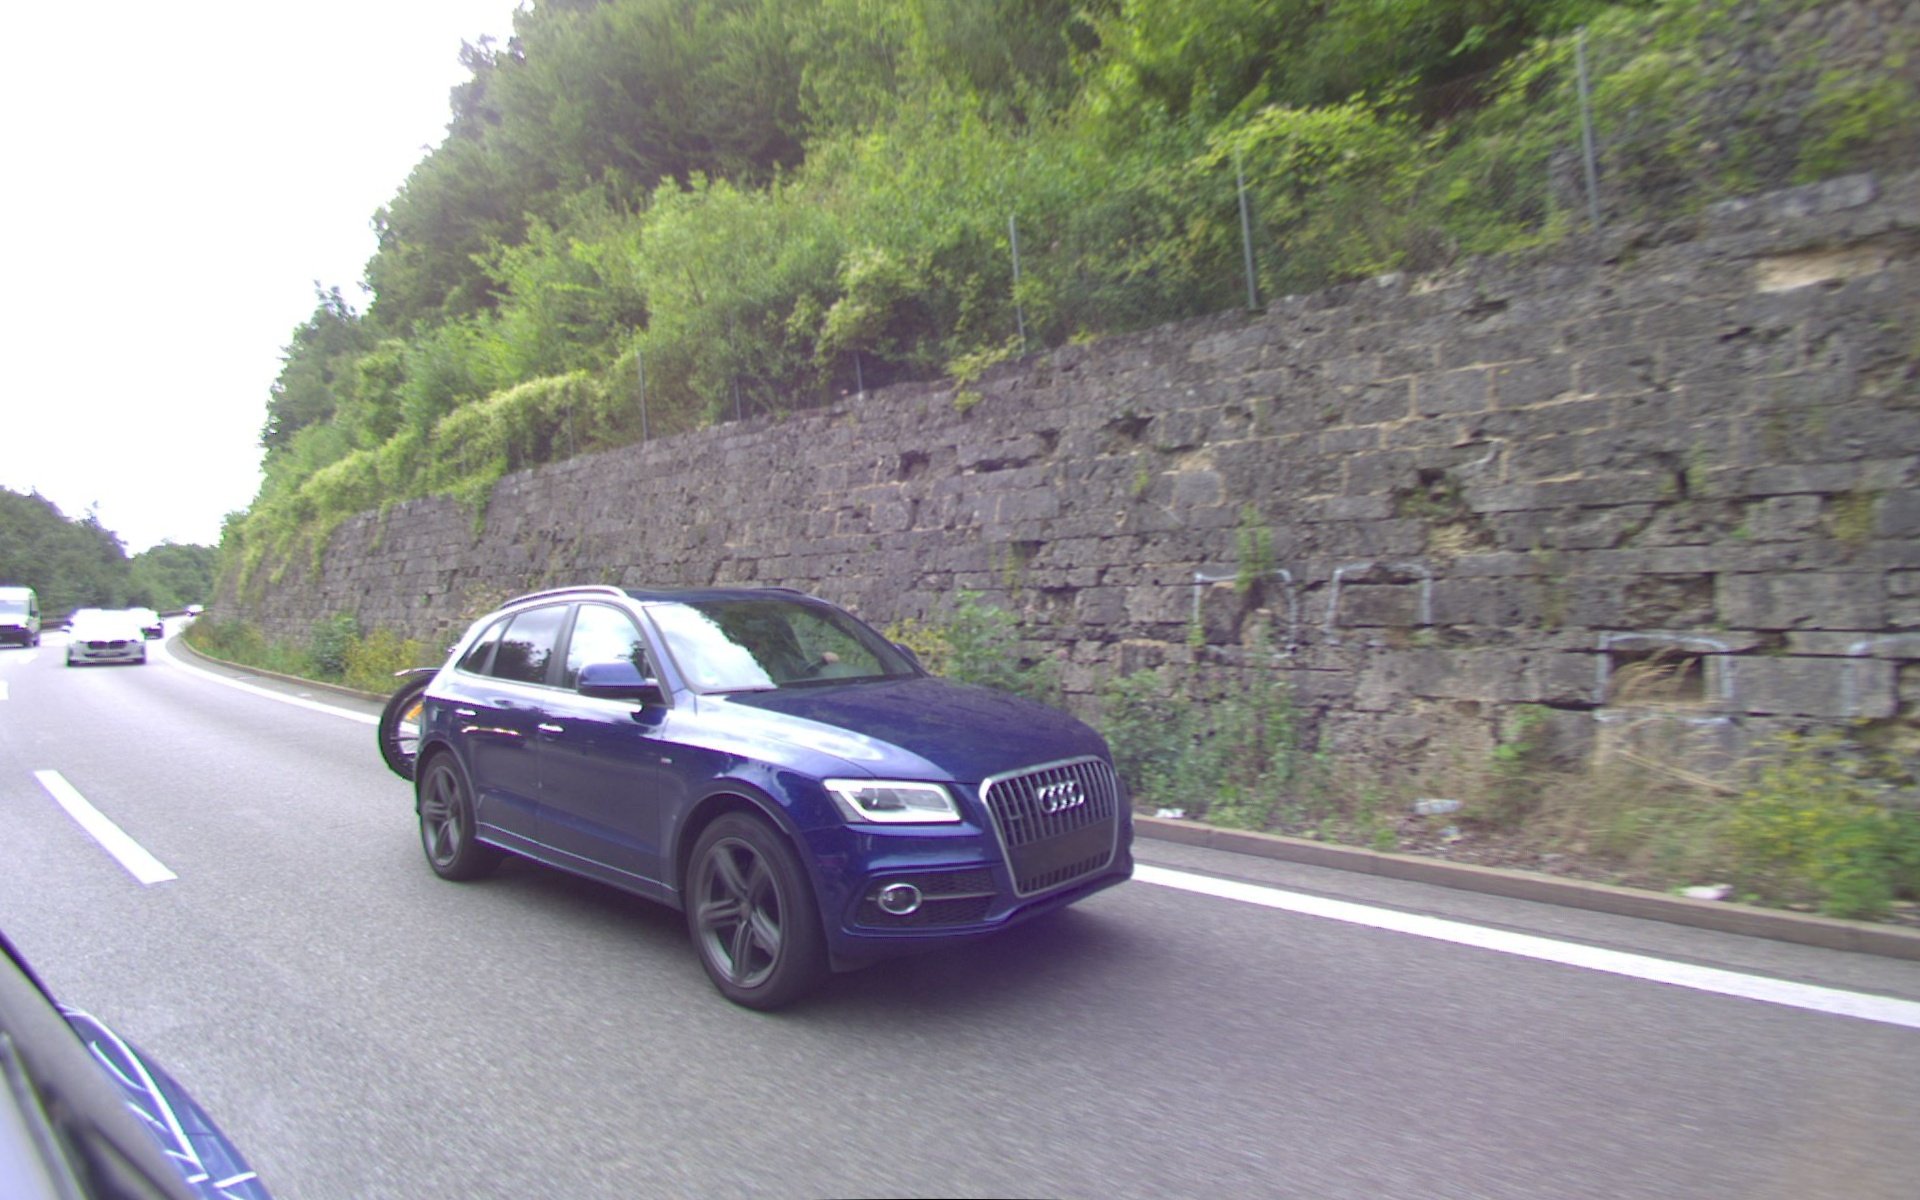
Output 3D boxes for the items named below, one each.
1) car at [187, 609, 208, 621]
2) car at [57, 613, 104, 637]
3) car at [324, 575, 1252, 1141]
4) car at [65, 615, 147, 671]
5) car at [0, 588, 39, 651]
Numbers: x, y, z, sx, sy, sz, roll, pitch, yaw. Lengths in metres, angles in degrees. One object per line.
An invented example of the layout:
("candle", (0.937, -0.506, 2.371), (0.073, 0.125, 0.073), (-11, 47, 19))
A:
("car", (-103.066, 1.987, 136.774), (1.793, 1.567, 4.012), (0, -2, -31))
("car", (-60.554, 1.754, 69.750), (1.793, 1.567, 4.011), (0, -2, -31))
("car", (-1.457, 0.736, 5.538), (5.584, 1.605, 1.950), (0, 2, 42))
("car", (-25.748, 1.266, 30.570), (1.796, 1.567, 4.007), (0, -2, -40))
("car", (-41.394, 0.873, 43.645), (2.067, 2.582, 5.930), (0, -2, -38))
